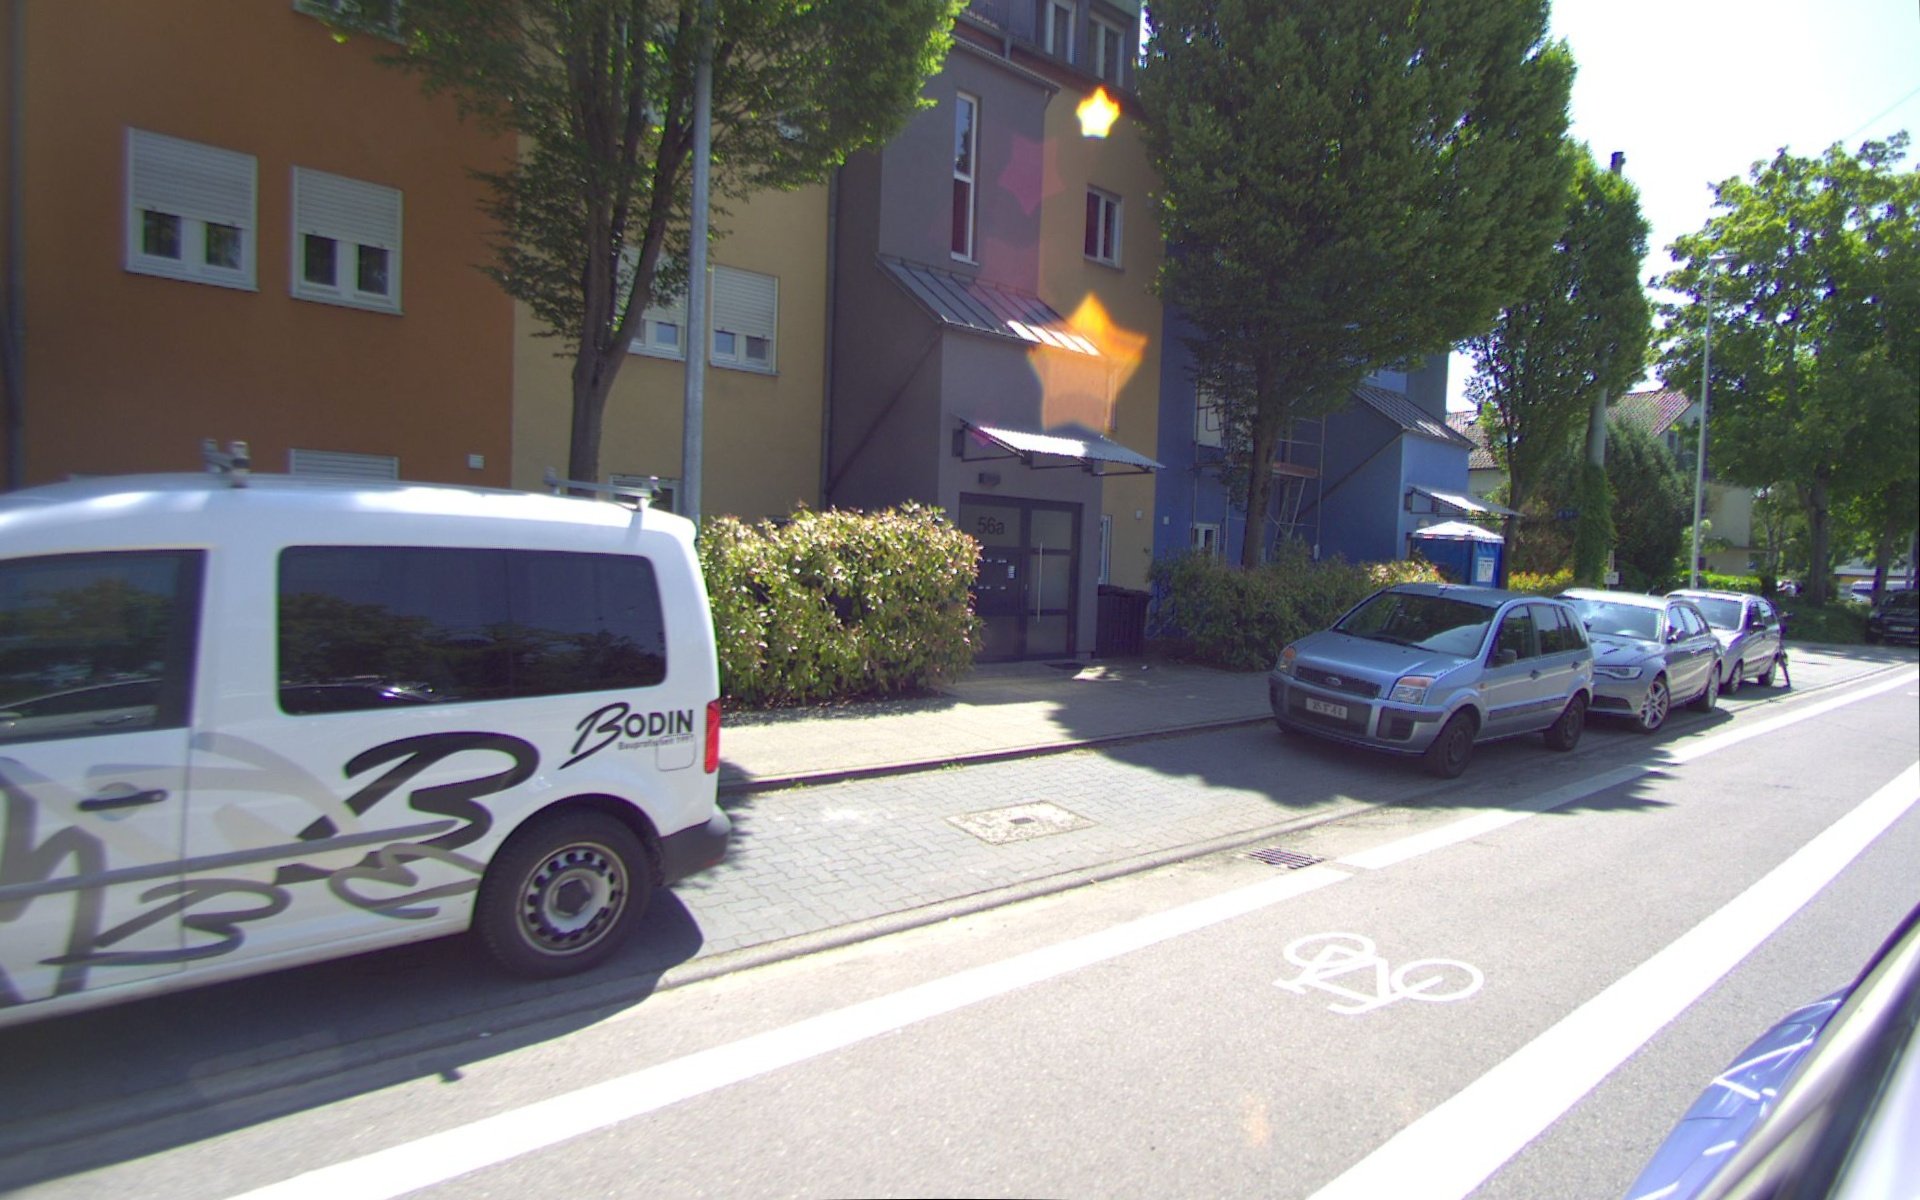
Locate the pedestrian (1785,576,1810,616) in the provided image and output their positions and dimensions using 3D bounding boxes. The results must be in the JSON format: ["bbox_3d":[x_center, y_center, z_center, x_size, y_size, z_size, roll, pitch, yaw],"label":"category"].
[{"bbox_3d":[36.625,-0.184,44.248,0.747,1.743,0.623,3,2,45],"label":"pedestrian"}]

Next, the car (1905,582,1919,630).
[{"bbox_3d":[32.896,0.255,33.529,4.278,1.547,1.845,0,5,-42],"label":"car"}]

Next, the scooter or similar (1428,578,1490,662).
[{"bbox_3d":[8.078,0.307,16.373,1.315,1.296,0.385,0,1,-40],"label":"scooter or similar"}]

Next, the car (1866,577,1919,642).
[{"bbox_3d":[28.515,0.294,29.804,4.542,1.726,1.847,0,5,-38],"label":"car"}]

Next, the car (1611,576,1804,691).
[{"bbox_3d":[12.087,0.473,16.293,3.748,1.547,1.523,0,5,-40],"label":"car"}]

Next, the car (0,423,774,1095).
[{"bbox_3d":[-3.018,0.354,3.514,4.277,1.815,1.845,0,5,-41],"label":"car"}]

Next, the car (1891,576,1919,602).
[{"bbox_3d":[94.962,-1.023,98.321,2.221,2.561,6.360,0,1,-36],"label":"car"}]

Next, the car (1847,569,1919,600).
[{"bbox_3d":[76.386,-1.251,82.786,2.056,2.490,5.504,0,1,-38],"label":"car"}]

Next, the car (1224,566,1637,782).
[{"bbox_3d":[4.656,0.555,9.792,4.138,1.547,1.847,0,5,-38],"label":"car"}]

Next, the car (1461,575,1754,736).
[{"bbox_3d":[8.385,0.555,12.896,4.881,1.547,1.845,0,5,-42],"label":"car"}]

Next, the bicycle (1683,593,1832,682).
[{"bbox_3d":[13.713,0.606,17.464,0.670,1.242,1.782,0,7,-35],"label":"bicycle"}]
